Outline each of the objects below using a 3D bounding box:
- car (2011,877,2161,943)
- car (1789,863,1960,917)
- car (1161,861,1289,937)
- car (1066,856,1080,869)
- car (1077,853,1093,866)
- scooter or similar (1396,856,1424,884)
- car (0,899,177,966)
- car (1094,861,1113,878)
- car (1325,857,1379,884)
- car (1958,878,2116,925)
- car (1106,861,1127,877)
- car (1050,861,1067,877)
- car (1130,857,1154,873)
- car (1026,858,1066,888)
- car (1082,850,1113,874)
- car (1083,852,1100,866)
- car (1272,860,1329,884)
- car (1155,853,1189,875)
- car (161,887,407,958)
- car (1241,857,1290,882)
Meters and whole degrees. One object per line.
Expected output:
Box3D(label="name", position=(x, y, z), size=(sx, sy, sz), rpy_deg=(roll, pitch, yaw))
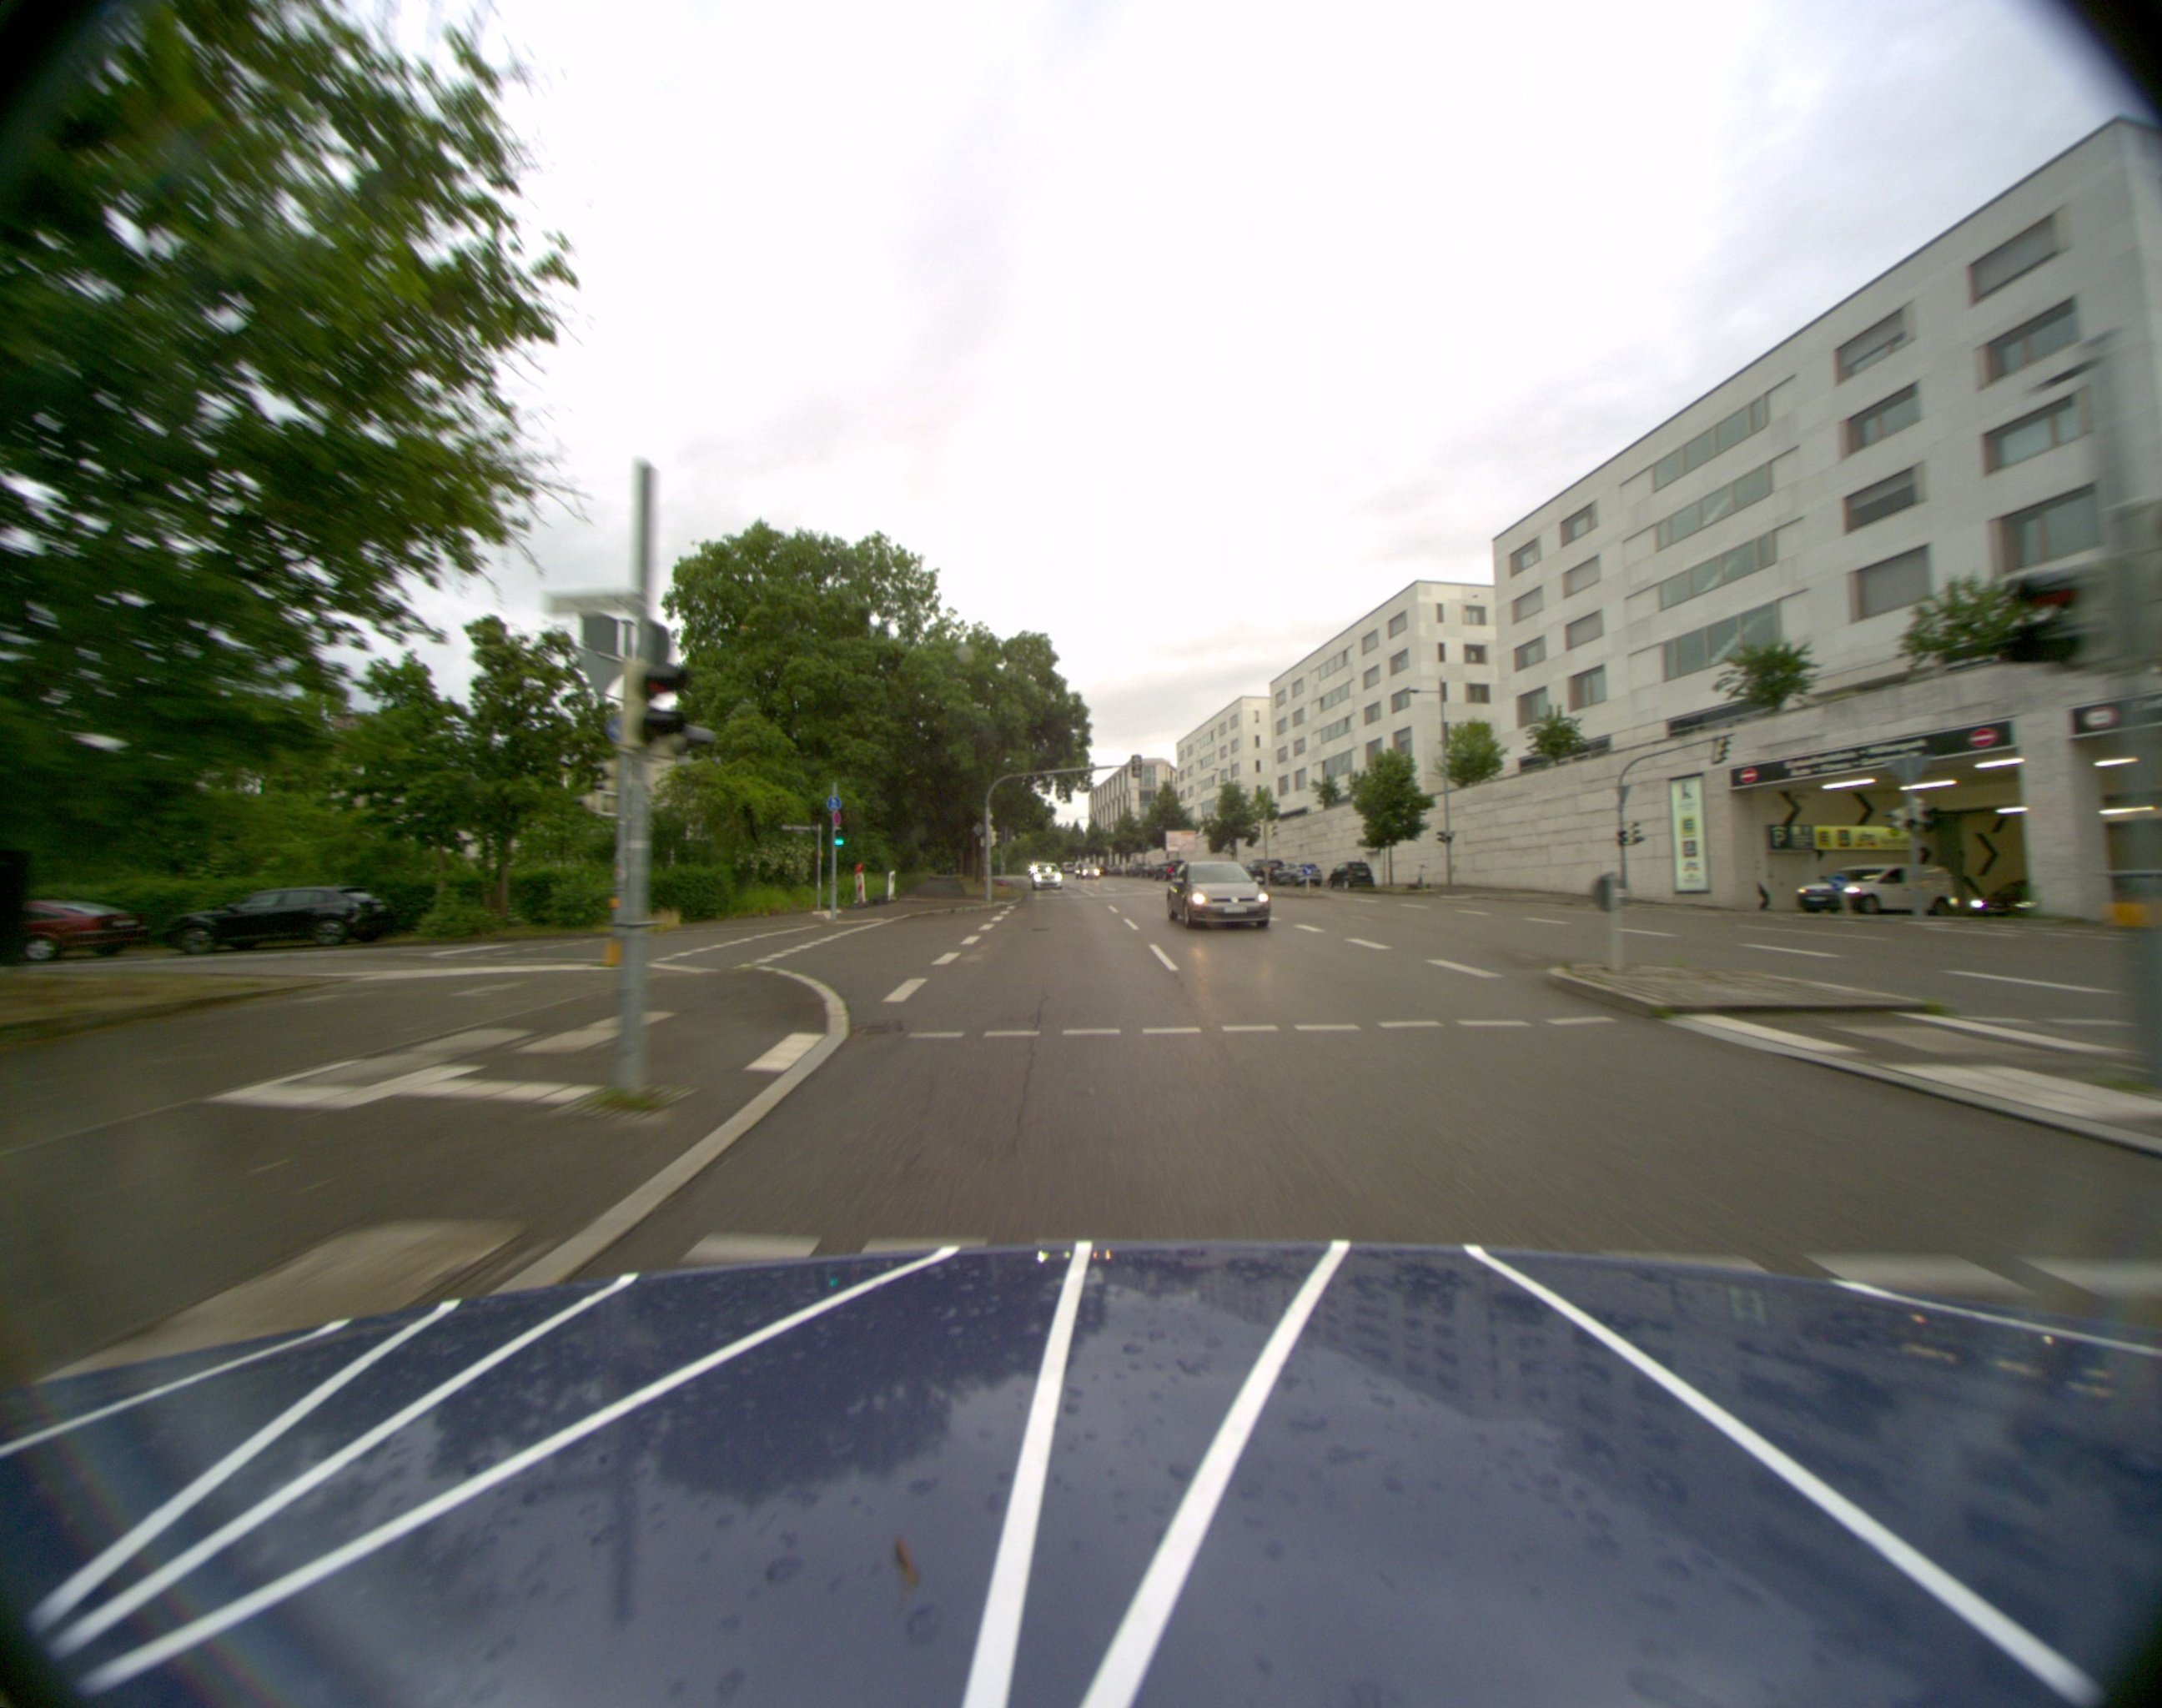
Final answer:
Box3D(label="car", position=(30.908, 1.636, 22.924), size=(4.000, 1.761, 1.799), rpy_deg=(-1, 0, -8))
Box3D(label="car", position=(26.702, 1.168, 25.630), size=(4.347, 1.642, 1.998), rpy_deg=(-1, 0, -12))
Box3D(label="car", position=(3.112, 0.912, 17.306), size=(1.876, 1.432, 4.295), rpy_deg=(-2, 0, -3))
Box3D(label="car", position=(-1.283, 1.298, 121.390), size=(1.999, 2.002, 3.999), rpy_deg=(-1, 0, -4))
Box3D(label="car", position=(0.634, 0.971, 126.474), size=(1.925, 2.001, 4.384), rpy_deg=(-2, -2, -8))
Box3D(label="scooter or similar", position=(17.110, 0.829, 39.528), size=(1.277, 1.459, 0.429), rpy_deg=(-2, 0, 22))
Box3D(label="car", position=(-25.061, 1.861, 18.151), size=(4.107, 1.386, 1.844), rpy_deg=(-1, 0, -16))
Box3D(label="car", position=(2.860, 1.964, 97.661), size=(1.999, 2.002, 3.999), rpy_deg=(-1, 0, -4))
Box3D(label="car", position=(15.432, 0.920, 43.374), size=(1.682, 1.450, 2.693), rpy_deg=(-1, 0, -12))
Box3D(label="car", position=(33.767, 1.658, 26.881), size=(4.201, 1.435, 1.607), rpy_deg=(-2, 0, -9))
Box3D(label="car", position=(4.807, 2.049, 102.786), size=(1.925, 2.001, 4.384), rpy_deg=(-2, -2, -8))
Box3D(label="car", position=(-2.870, 1.890, 97.907), size=(1.998, 2.002, 4.000), rpy_deg=(-1, 0, 0))
Box3D(label="car", position=(7.125, 1.319, 89.165), size=(1.999, 1.739, 3.998), rpy_deg=(-2, 0, -6))
Box3D(label="car", position=(-2.183, 1.166, 46.514), size=(1.928, 1.652, 3.998), rpy_deg=(-2, -1, -9))
Box3D(label="car", position=(1.432, 0.771, 68.209), size=(1.925, 2.001, 4.384), rpy_deg=(-2, -2, -8))
Box3D(label="car", position=(1.714, 0.816, 120.682), size=(1.925, 2.001, 4.384), rpy_deg=(-2, -2, -8))
Box3D(label="car", position=(14.007, 1.132, 48.776), size=(1.864, 1.469, 3.996), rpy_deg=(-1, 0, -12))
Box3D(label="car", position=(8.018, 0.879, 67.193), size=(1.966, 1.828, 4.446), rpy_deg=(-1, 0, -8))
Box3D(label="car", position=(-20.229, 1.689, 19.519), size=(3.907, 1.538, 1.879), rpy_deg=(-1, 0, -17))
Box3D(label="car", position=(12.989, 1.076, 53.681), size=(1.791, 1.622, 3.996), rpy_deg=(-1, 0, -12))
